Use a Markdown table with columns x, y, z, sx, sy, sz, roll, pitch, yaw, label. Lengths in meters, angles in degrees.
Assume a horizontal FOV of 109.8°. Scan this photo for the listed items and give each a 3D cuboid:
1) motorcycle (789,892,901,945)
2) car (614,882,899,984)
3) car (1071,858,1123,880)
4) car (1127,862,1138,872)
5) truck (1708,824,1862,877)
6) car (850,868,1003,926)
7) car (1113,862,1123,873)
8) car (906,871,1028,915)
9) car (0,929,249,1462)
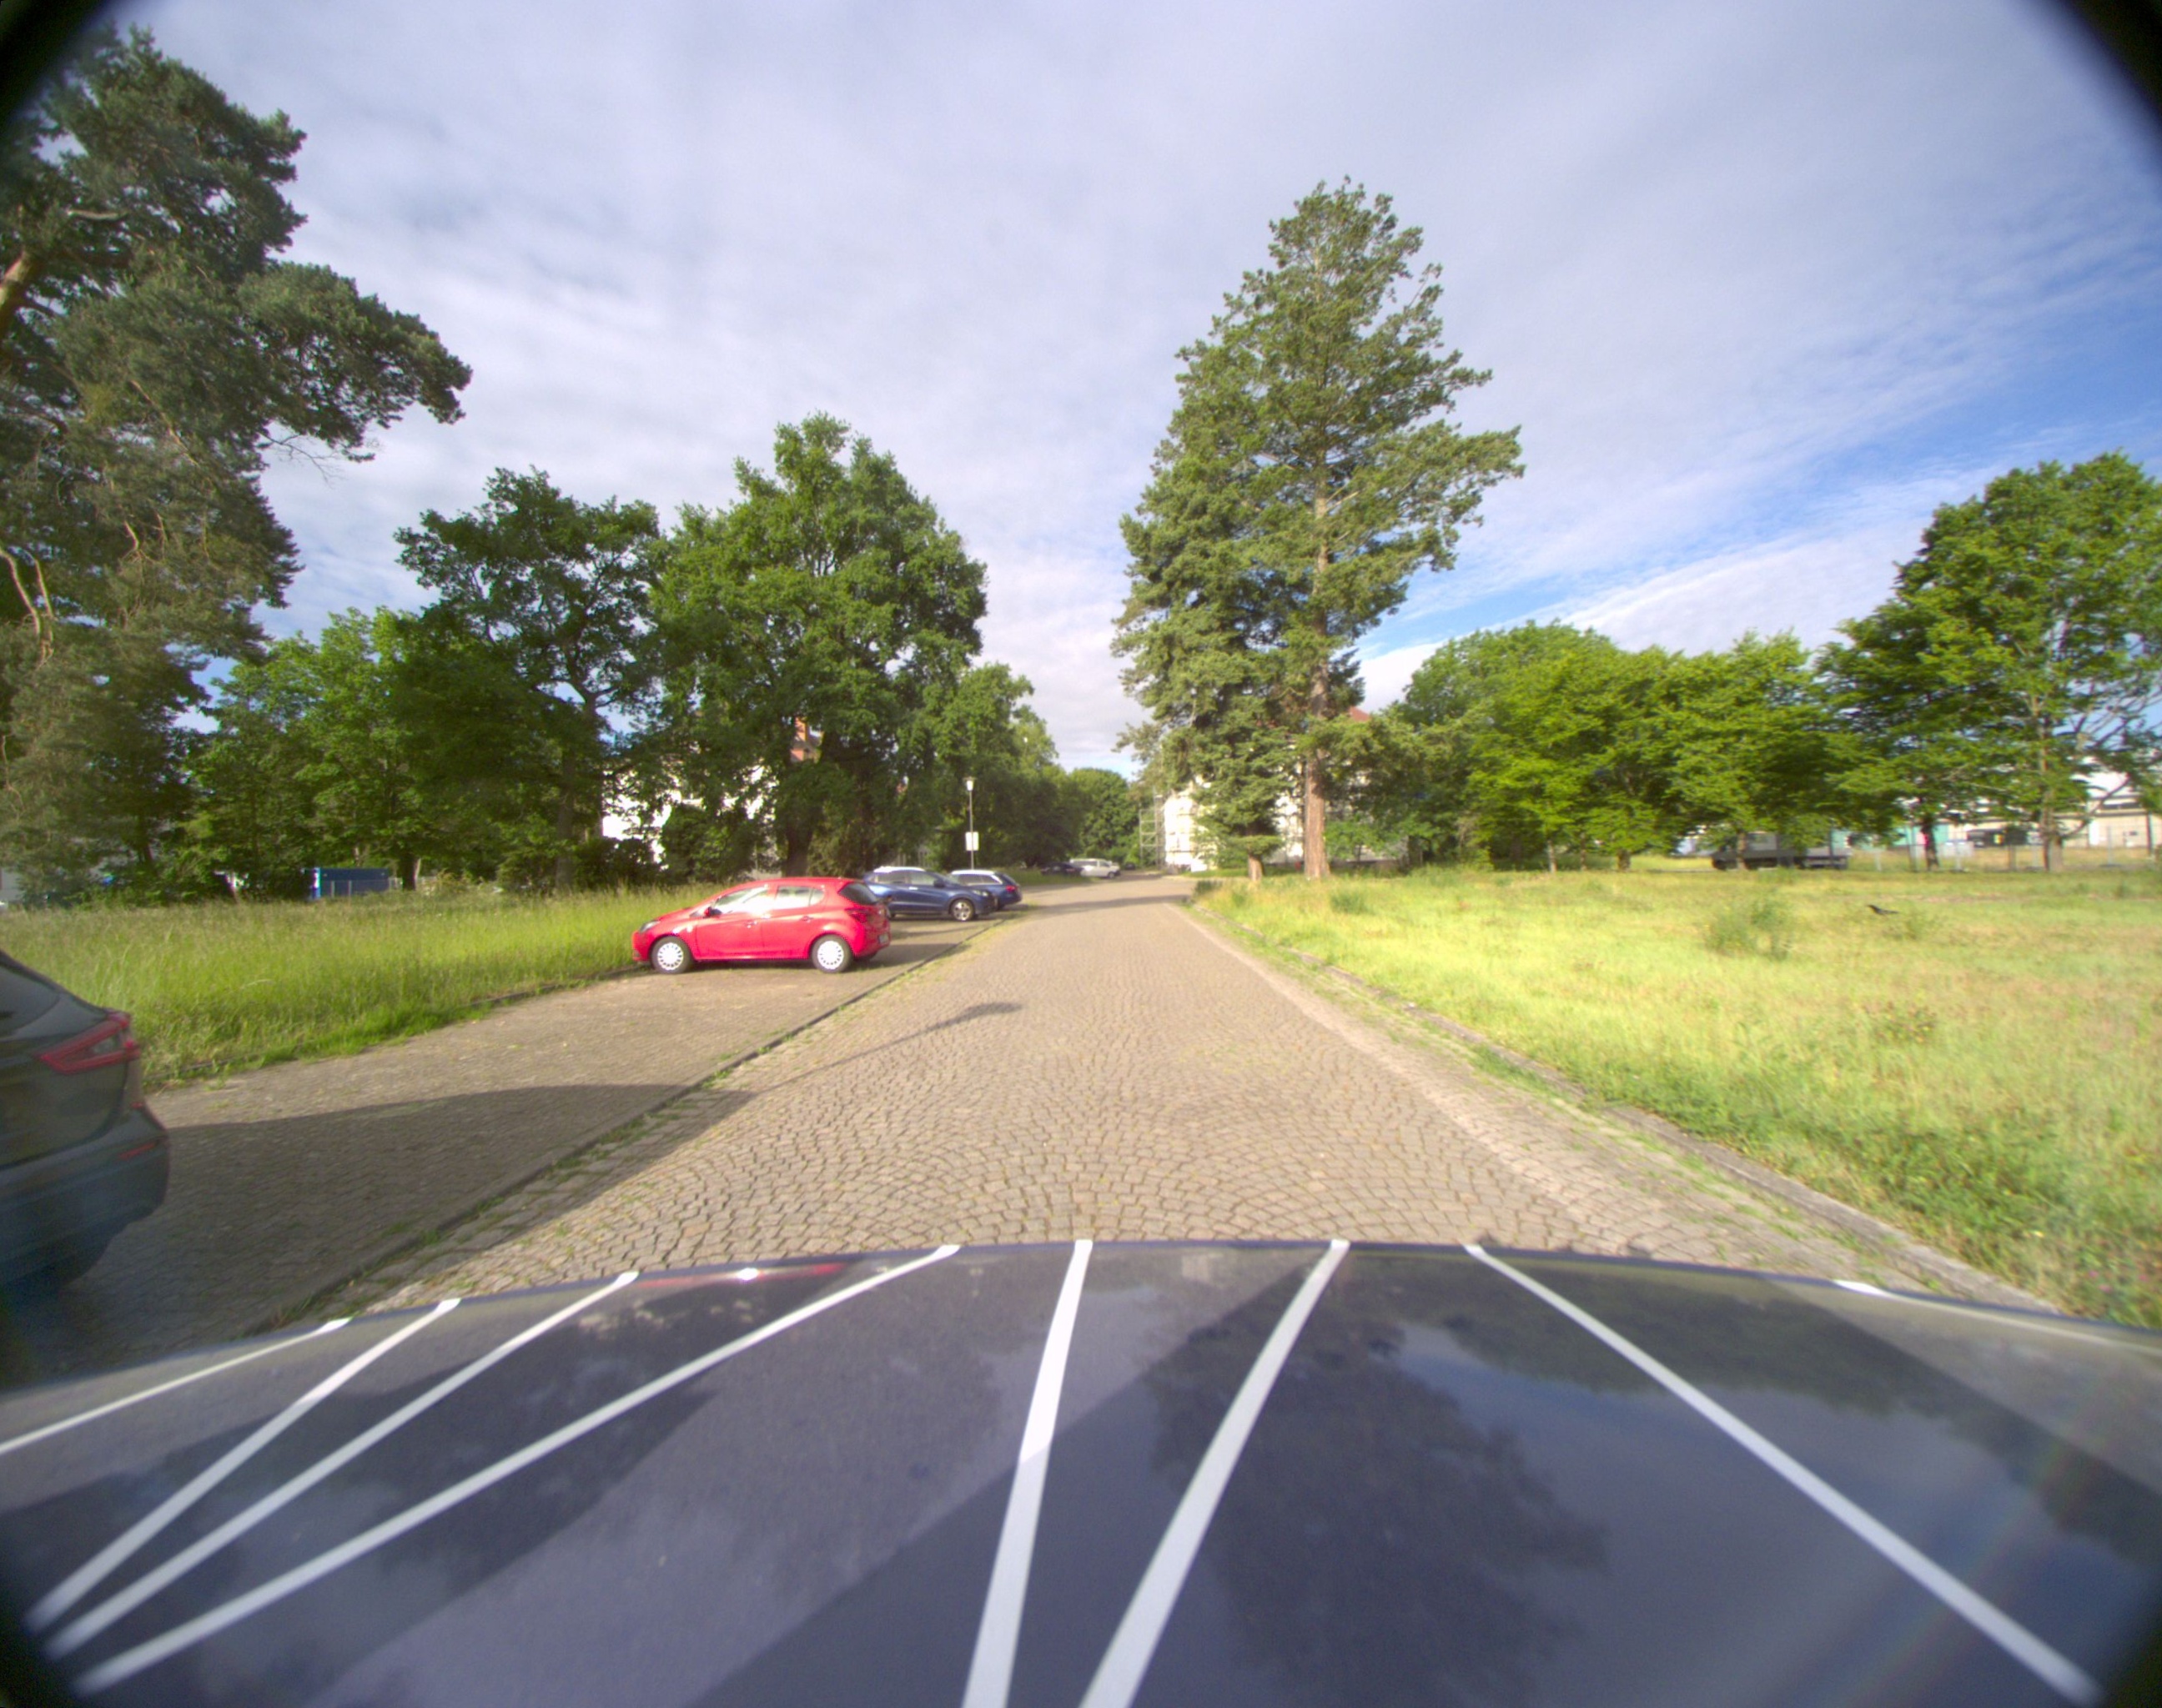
| x | y | z | sx | sy | sz | roll | pitch | yaw | label |
| --- | --- | --- | --- | --- | --- | --- | --- | --- | --- |
| -5.242 | 1.432 | 16.944 | 2.306 | 1.107 | 0.607 | -1 | 1 | 4 | motorcycle |
| -5.135 | 1.233 | 12.384 | 3.886 | 1.464 | 1.687 | -1 | 0 | 1 | car |
| 1.578 | 1.458 | 76.131 | 5.078 | 2.028 | 2.000 | -2 | -1 | 2 | car |
| 9.649 | 2.473 | 142.208 | 1.998 | 1.762 | 4.109 | -2 | 0 | 2 | car |
| 38.426 | -0.132 | 41.867 | 2.417 | 2.571 | 6.961 | -2 | -1 | 5 | truck |
| -4.528 | 1.242 | 22.656 | 4.135 | 1.560 | 1.747 | -1 | 0 | 2 | car |
| 6.913 | 2.500 | 142.089 | 1.874 | 1.887 | 4.000 | -2 | 0 | 2 | car |
| -4.047 | 1.371 | 27.340 | 4.034 | 1.442 | 1.784 | -1 | 0 | 4 | car |
| -5.458 | 1.129 | 2.124 | 4.201 | 1.579 | 1.878 | -1 | 0 | 1 | car |
